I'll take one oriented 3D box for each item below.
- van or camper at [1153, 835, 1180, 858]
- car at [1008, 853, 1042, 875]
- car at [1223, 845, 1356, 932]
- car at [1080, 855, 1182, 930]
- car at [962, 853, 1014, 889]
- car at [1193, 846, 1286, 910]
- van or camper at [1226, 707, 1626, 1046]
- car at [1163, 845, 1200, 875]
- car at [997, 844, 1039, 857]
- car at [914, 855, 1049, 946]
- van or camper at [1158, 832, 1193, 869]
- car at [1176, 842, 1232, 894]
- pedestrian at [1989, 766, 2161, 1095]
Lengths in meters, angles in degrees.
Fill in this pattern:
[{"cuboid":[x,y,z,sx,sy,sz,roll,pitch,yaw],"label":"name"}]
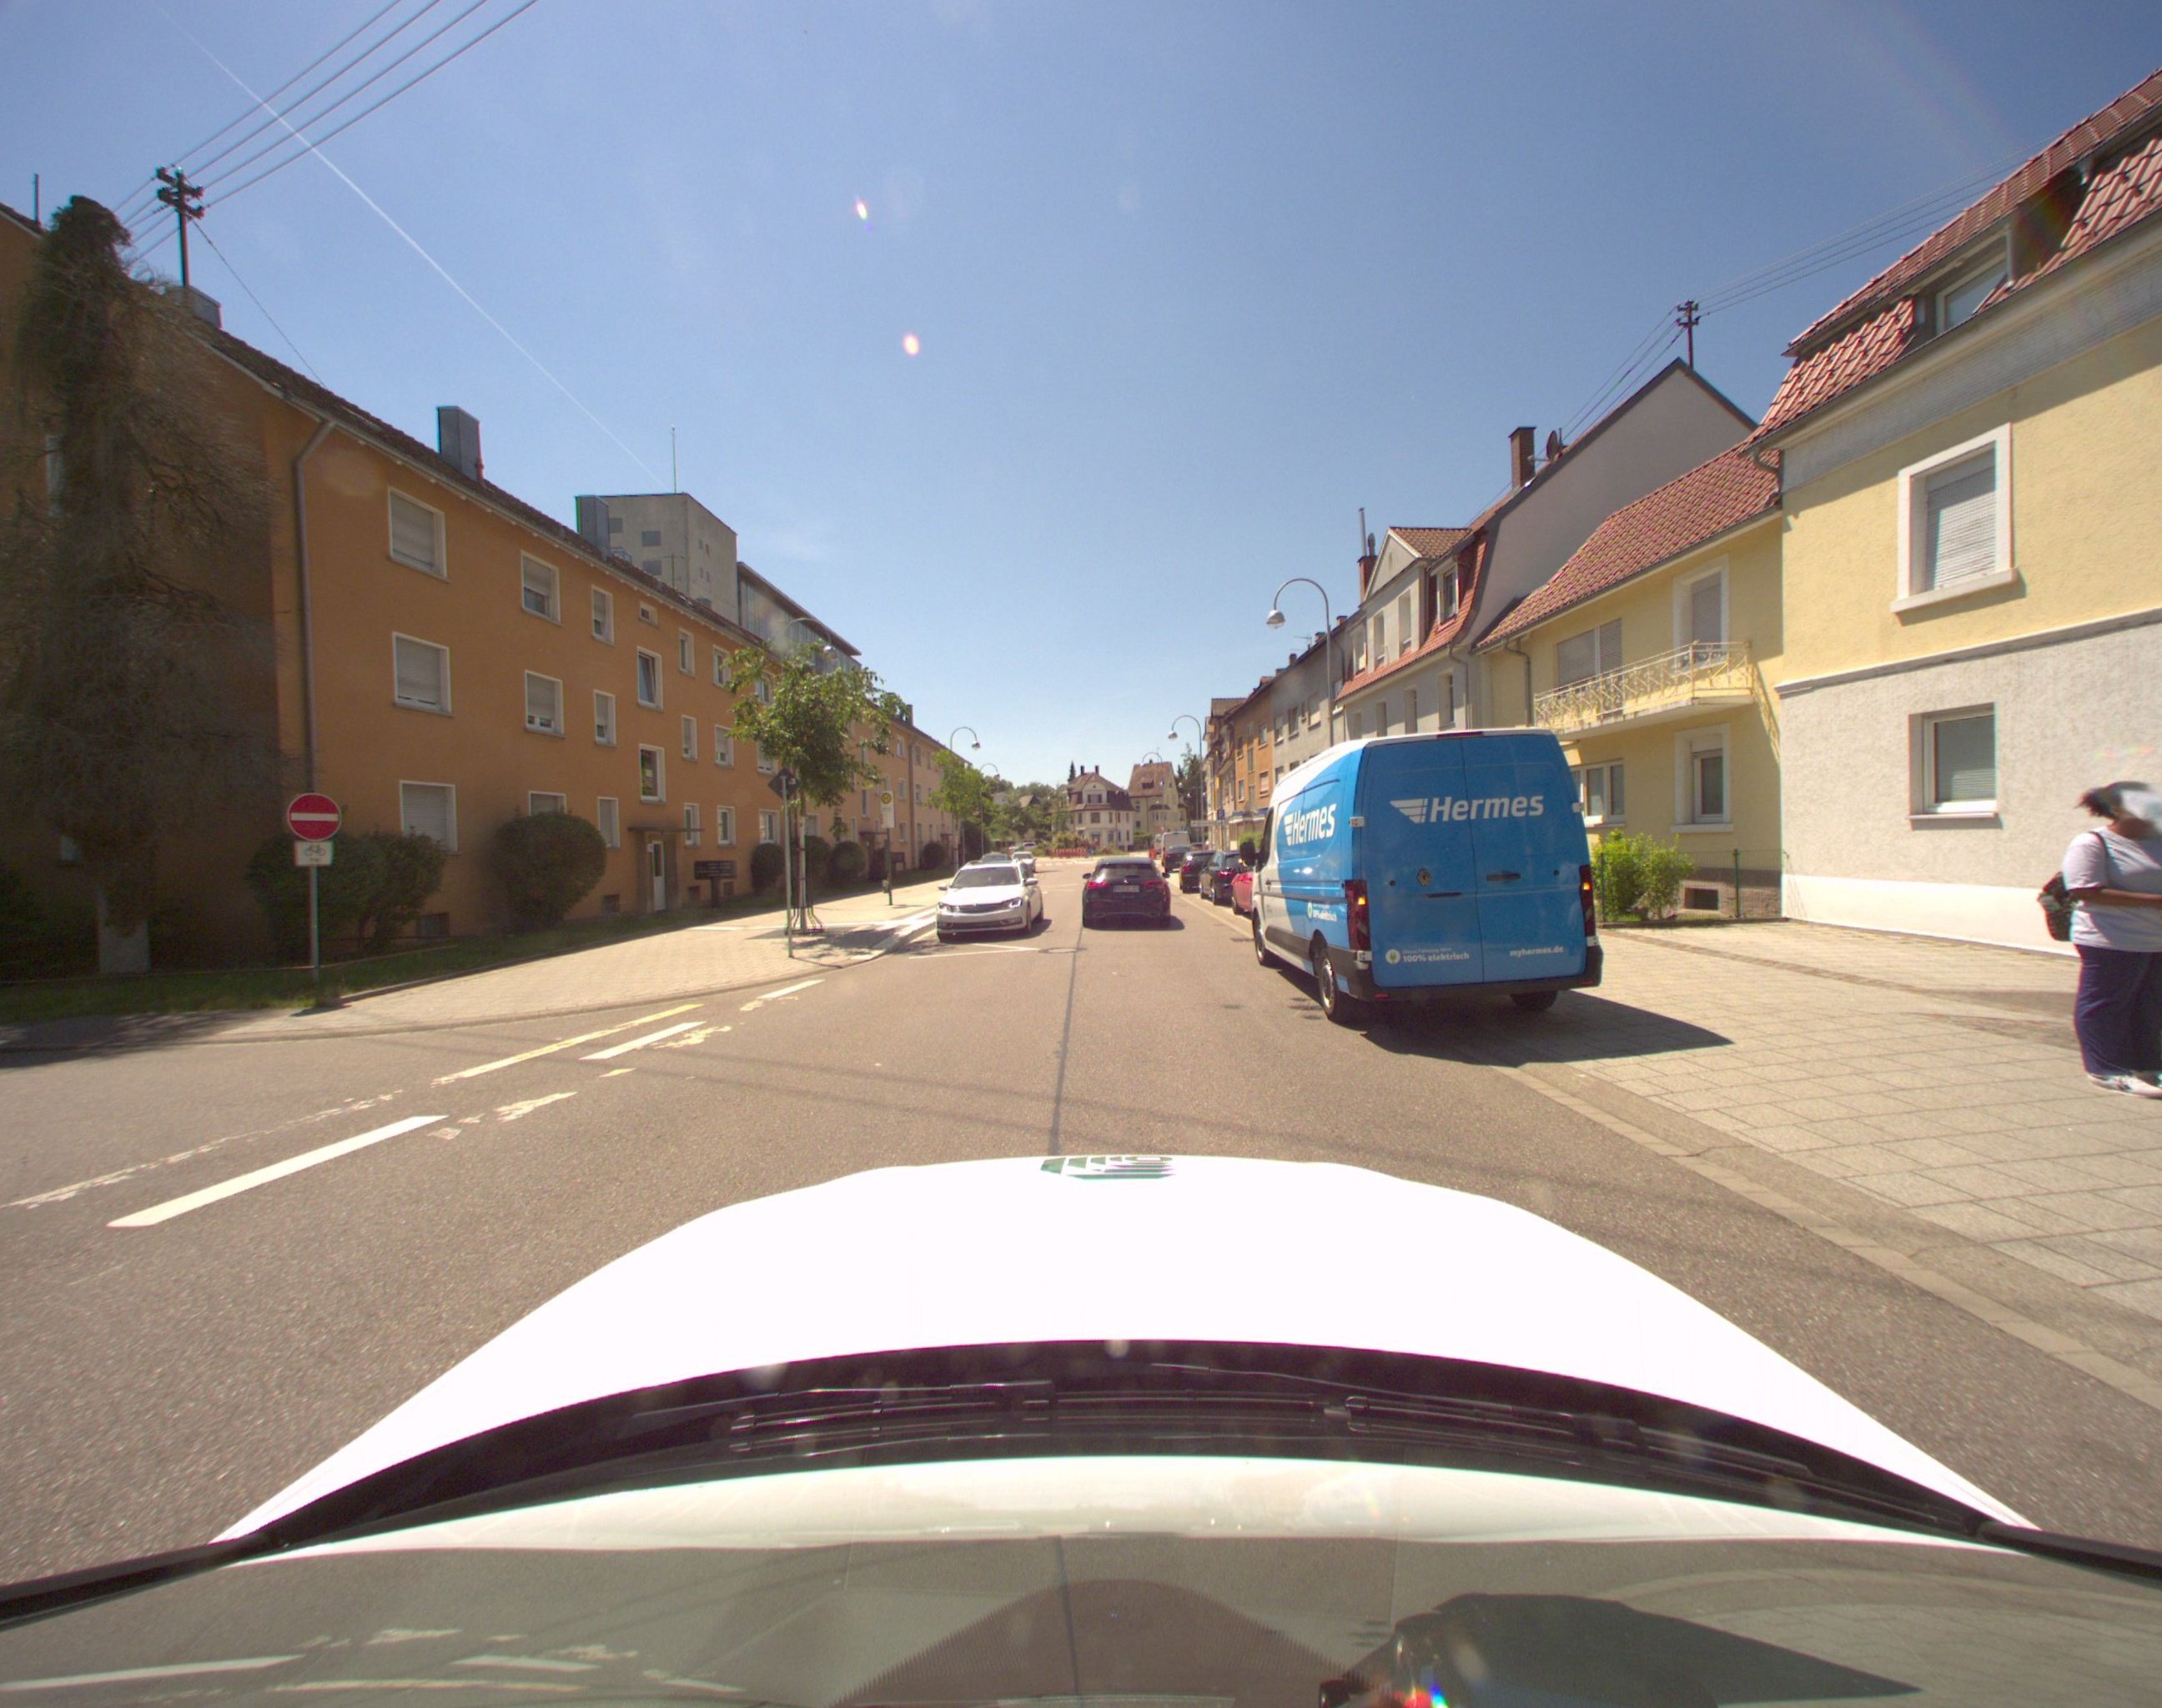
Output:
[{"cuboid":[10.088,-0.954,95.709,2.187,2.610,4.021,-1,1,20],"label":"van or camper"},{"cuboid":[-3.858,0.686,56.636,1.987,1.420,4.089,-2,0,1],"label":"car"},{"cuboid":[4.279,0.628,17.391,1.797,1.530,4.152,-3,1,1],"label":"car"},{"cuboid":[1.057,0.756,17.783,1.945,1.427,4.002,-1,0,2],"label":"car"},{"cuboid":[-4.448,0.788,39.575,1.851,1.506,4.563,-2,1,1],"label":"car"},{"cuboid":[4.448,0.606,23.561,1.797,1.475,4.722,-5,1,1],"label":"car"},{"cuboid":[3.176,0.166,9.323,2.100,2.467,6.181,-4,0,3],"label":"van or camper"},{"cuboid":[6.225,0.312,49.877,1.883,1.607,4.378,-3,0,11],"label":"car"},{"cuboid":[-8.668,-0.518,111.975,5.432,1.816,1.983,-1,1,-27],"label":"car"},{"cuboid":[-1.902,0.852,16.987,1.985,1.506,4.293,-2,1,4],"label":"car"},{"cuboid":[7.066,-0.295,61.414,2.155,2.588,5.772,-3,1,3],"label":"van or camper"},{"cuboid":[4.448,0.456,29.821,1.720,1.633,4.007,-4,1,6],"label":"car"},{"cuboid":[5.588,0.376,4.422,0.635,1.654,0.521,-5,1,-1],"label":"pedestrian"}]
